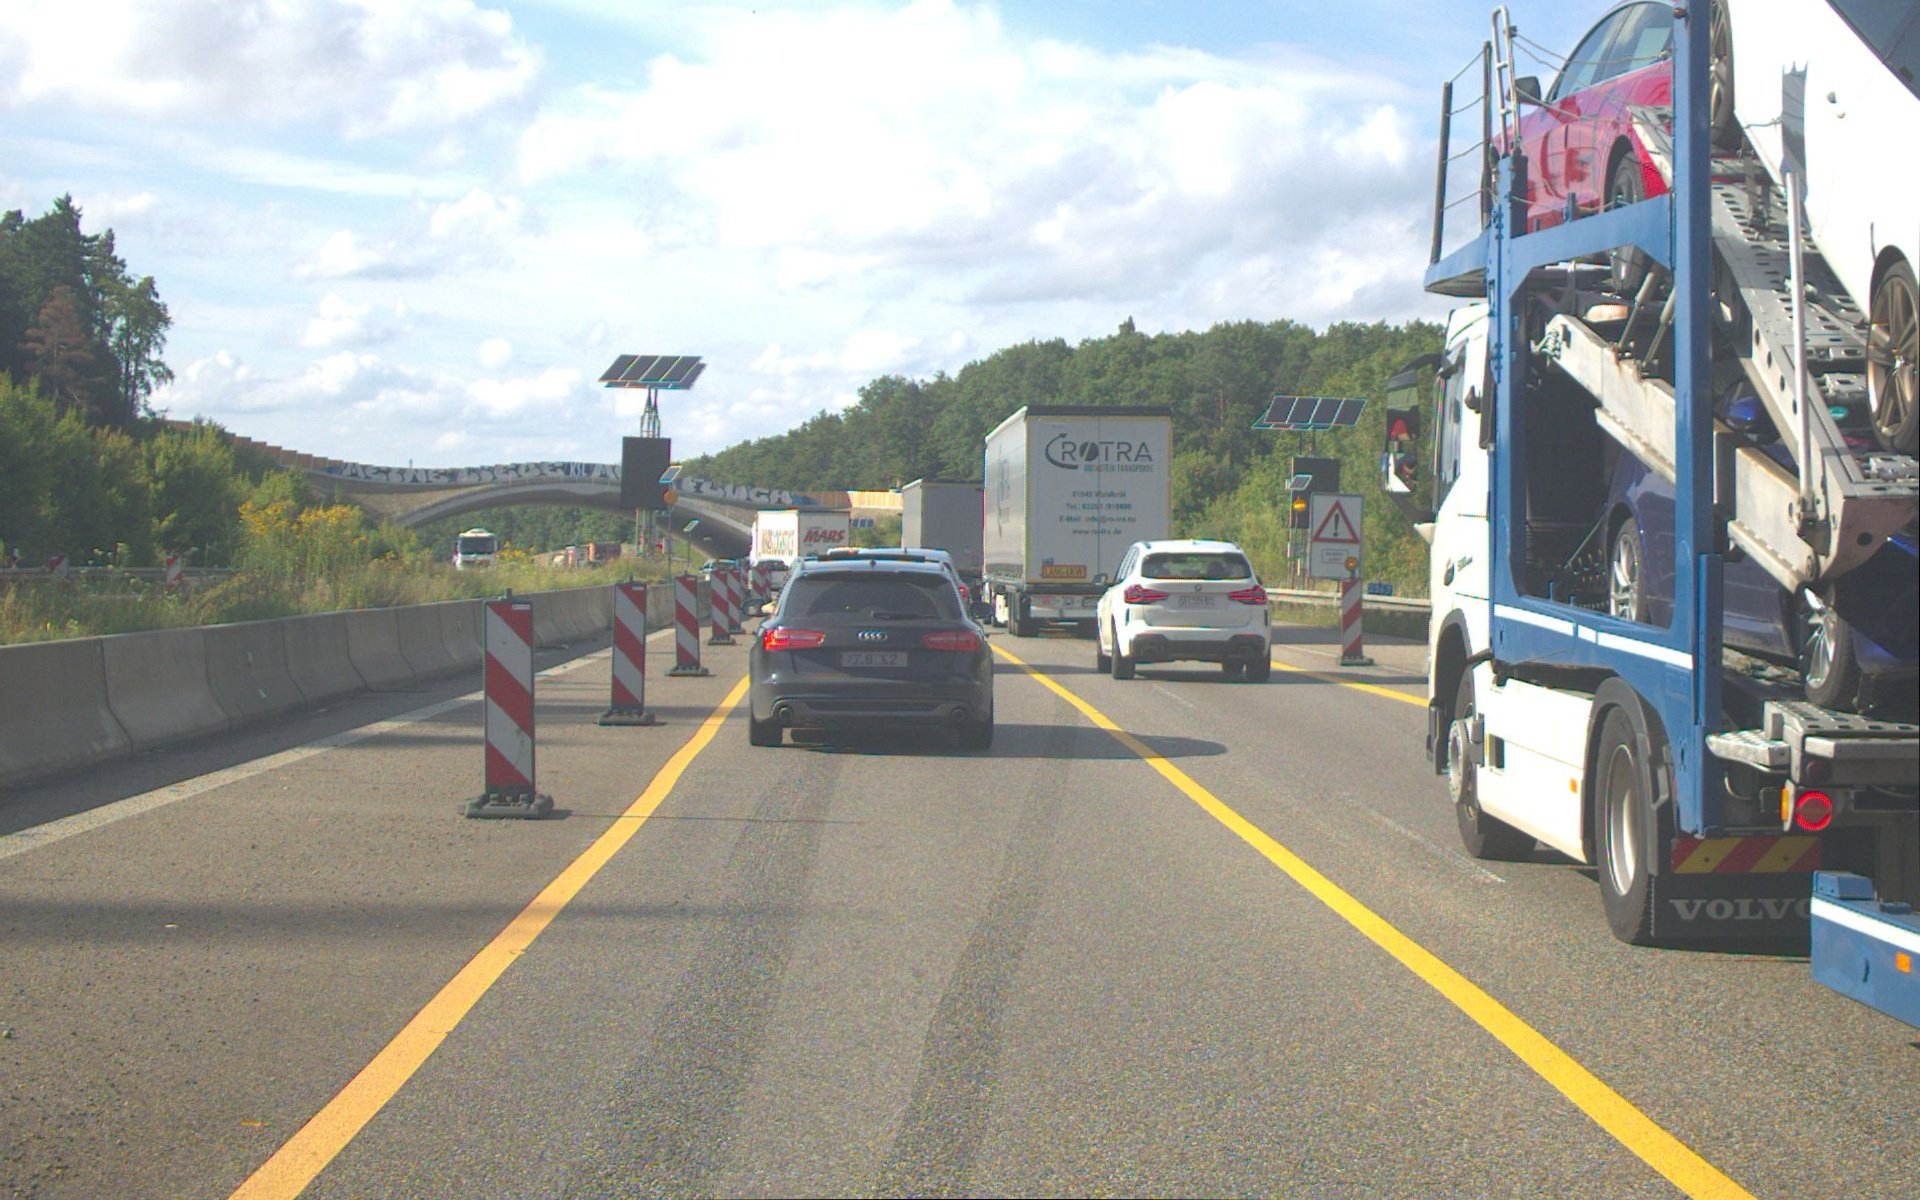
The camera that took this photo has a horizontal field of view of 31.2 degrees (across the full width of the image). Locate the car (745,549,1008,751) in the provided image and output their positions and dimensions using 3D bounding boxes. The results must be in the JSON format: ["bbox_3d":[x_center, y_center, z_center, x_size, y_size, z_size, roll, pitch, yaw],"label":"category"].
[{"bbox_3d":[-0.635,0.345,27.057,1.890,1.441,4.000,1,1,-1],"label":"car"}]

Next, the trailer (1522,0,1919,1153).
[{"bbox_3d":[4.460,-0.598,6.165,3.726,4.182,16.228,1,1,-2],"label":"trailer"}]

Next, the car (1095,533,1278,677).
[{"bbox_3d":[2.717,0.037,42.014,1.890,1.638,4.018,1,0,-1],"label":"car"}]

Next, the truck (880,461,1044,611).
[{"bbox_3d":[-0.054,-2.055,112.718,4.318,4.584,11.127,1,1,-5],"label":"truck"}]

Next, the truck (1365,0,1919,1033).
[{"bbox_3d":[4.211,-0.791,14.414,3.761,4.182,7.952,1,0,-2],"label":"truck"}]

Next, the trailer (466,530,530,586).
[{"bbox_3d":[-29.676,-2.681,221.189,2.802,3.478,11.113,1,1,-1],"label":"trailer"}]

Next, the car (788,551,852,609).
[{"bbox_3d":[-5.031,-0.725,123.149,1.993,2.007,4.001,1,0,-6],"label":"car"}]

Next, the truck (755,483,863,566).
[{"bbox_3d":[-7.533,-3.666,169.897,3.653,3.915,11.070,1,1,-11],"label":"truck"}]

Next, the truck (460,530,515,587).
[{"bbox_3d":[-29.536,-2.578,215.076,2.785,3.478,4.939,1,0,-1],"label":"truck"}]

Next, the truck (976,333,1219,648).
[{"bbox_3d":[2.404,-1.954,67.147,3.677,5.335,16.202,1,1,-1],"label":"truck"}]
